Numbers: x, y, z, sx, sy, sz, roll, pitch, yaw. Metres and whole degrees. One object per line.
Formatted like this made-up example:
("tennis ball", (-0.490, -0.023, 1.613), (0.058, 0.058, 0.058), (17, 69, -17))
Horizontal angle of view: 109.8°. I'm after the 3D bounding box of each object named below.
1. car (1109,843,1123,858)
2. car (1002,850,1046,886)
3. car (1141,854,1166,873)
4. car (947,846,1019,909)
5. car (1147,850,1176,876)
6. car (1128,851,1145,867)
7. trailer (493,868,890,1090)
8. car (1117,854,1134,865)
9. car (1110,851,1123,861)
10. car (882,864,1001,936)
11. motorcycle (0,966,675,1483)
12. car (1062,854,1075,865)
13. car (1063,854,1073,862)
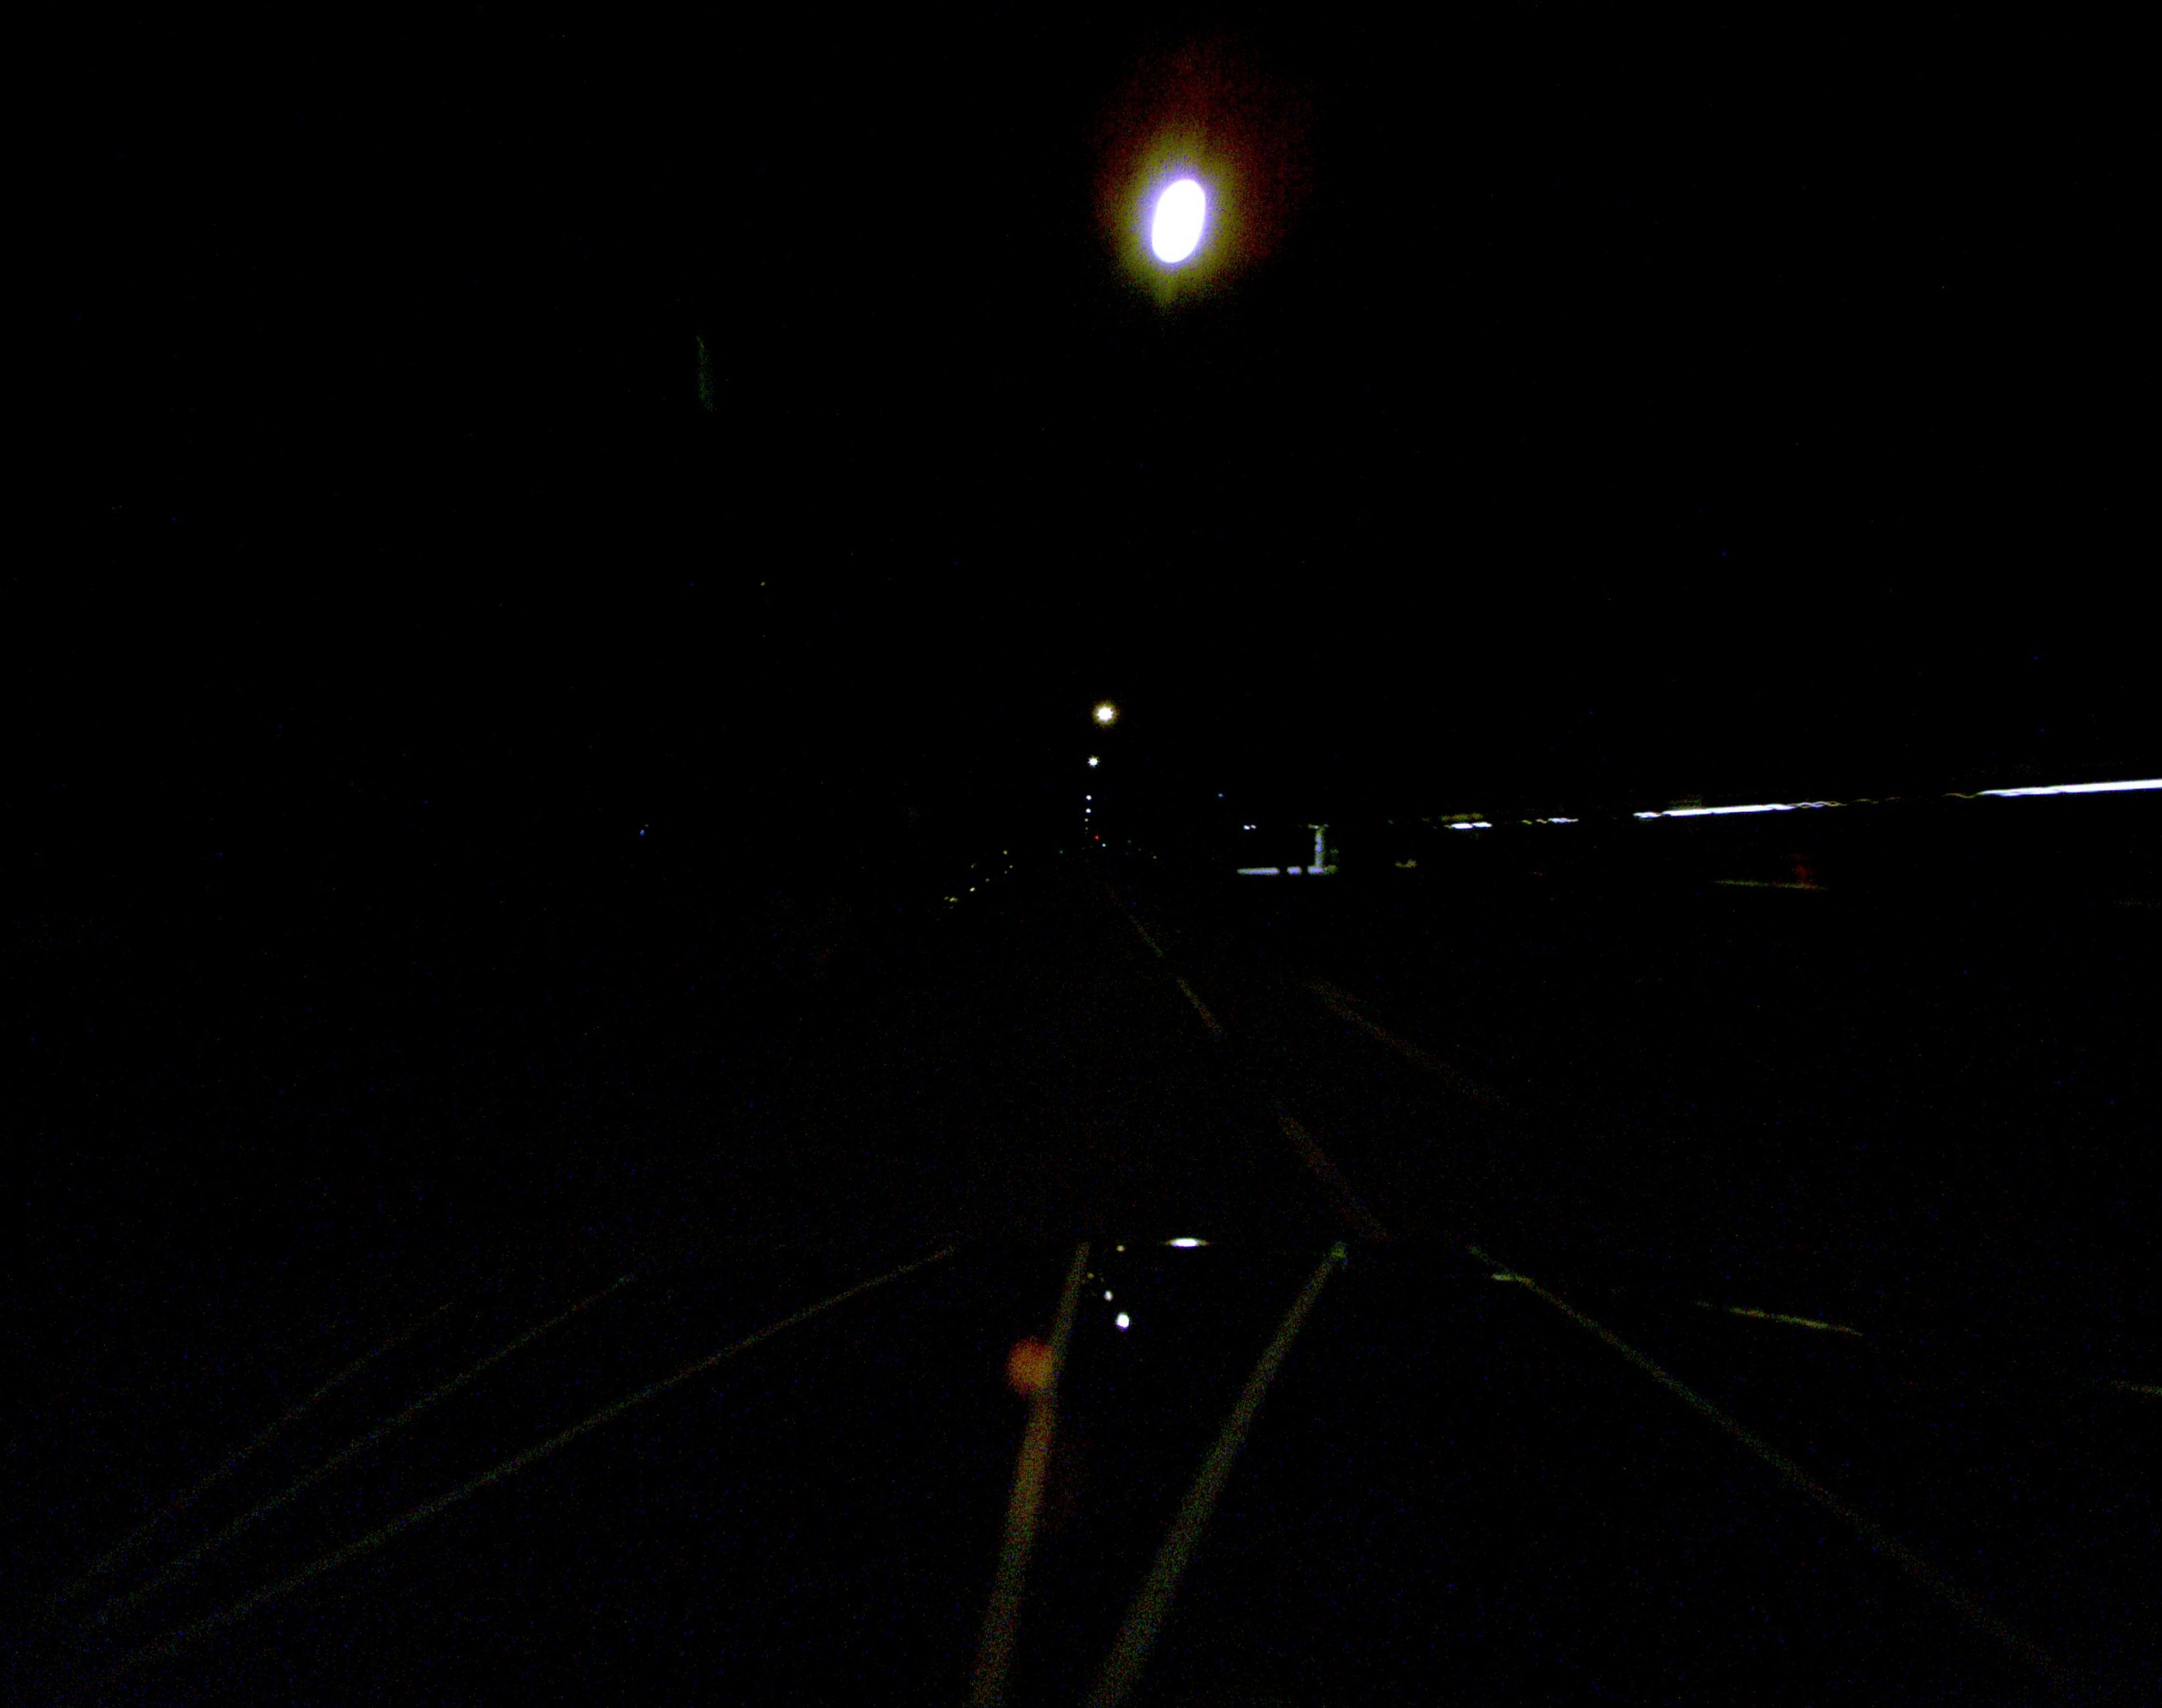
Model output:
("car", (6.077, -0.536, 130.936), (2.005, 2.493, 4.953), (-2, 0, -1))
("car", (-2.783, 0.640, 37.694), (1.934, 1.655, 3.773), (1, 0, -1))
("car", (6.044, 0.779, 63.932), (1.826, 1.423, 3.731), (-2, 0, 2))
("car", (-2.936, 0.656, 23.619), (1.781, 1.762, 4.421), (1, 0, -2))
("car", (6.120, 0.649, 58.030), (1.882, 1.798, 3.731), (-2, 0, 2))
("car", (6.273, 0.541, 85.986), (1.826, 1.637, 3.731), (1, 0, 2))
("trailer", (-3.264, 0.927, 7.287), (1.604, 1.486, 3.735), (-1, 0, 5))
("car", (5.874, 0.699, 100.704), (1.826, 1.423, 3.731), (-2, 0, -1))
("car", (5.553, 0.282, 119.266), (1.826, 1.423, 3.731), (-2, 0, -1))
("car", (-3.047, 0.947, 17.550), (1.780, 1.351, 4.423), (1, 0, 2))
("motorcycle", (-2.866, 1.160, 2.874), (0.727, 1.124, 2.232), (0, 1, 35))
("car", (-1.762, 0.747, 109.578), (1.826, 1.423, 3.731), (-2, 0, -1))
("car", (-2.367, 0.681, 140.257), (1.826, 1.423, 3.731), (-2, 0, -1))
